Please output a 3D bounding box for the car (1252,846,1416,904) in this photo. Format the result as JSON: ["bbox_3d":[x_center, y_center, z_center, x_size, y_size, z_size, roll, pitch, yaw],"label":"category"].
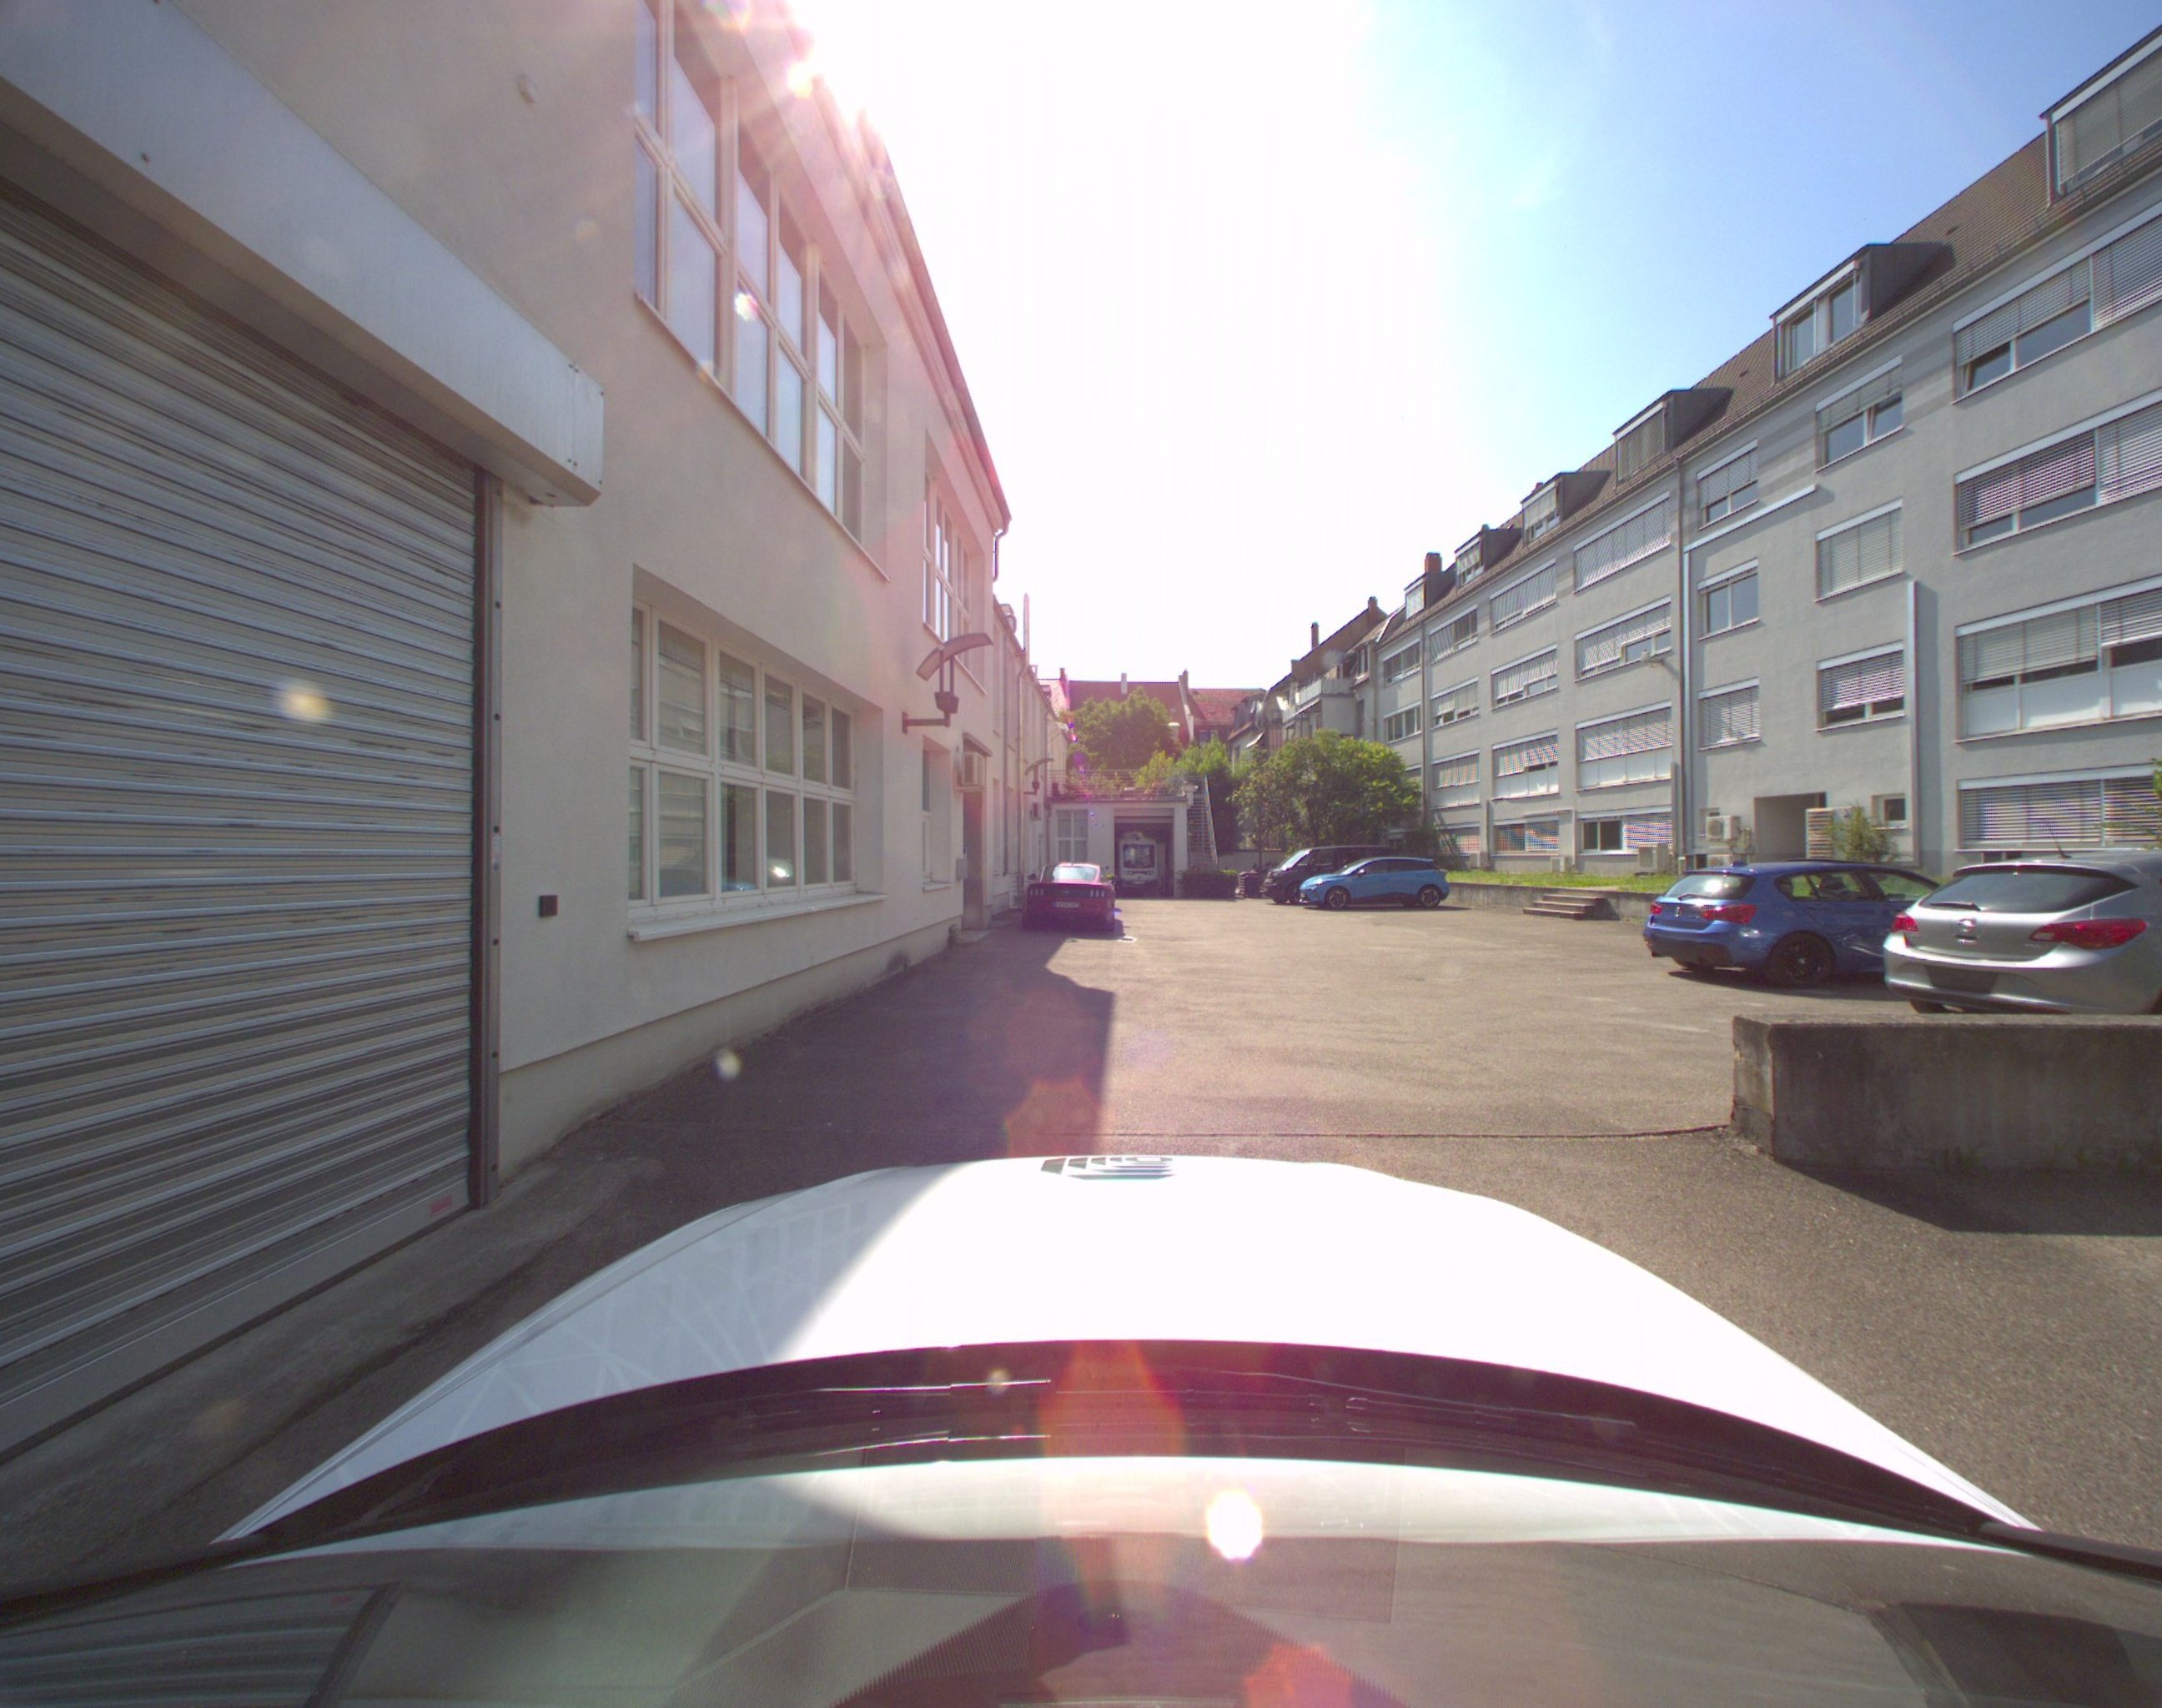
[{"bbox_3d":[8.547,0.658,27.710,4.951,1.767,2.090,-1,0,-10],"label":"car"}]

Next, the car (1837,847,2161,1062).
[{"bbox_3d":[8.797,0.659,6.425,3.974,1.427,1.811,-1,0,0],"label":"car"}]

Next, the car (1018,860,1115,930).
[{"bbox_3d":[-0.201,0.816,17.849,1.844,1.319,4.002,1,0,2],"label":"car"}]

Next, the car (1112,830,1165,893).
[{"bbox_3d":[2.647,0.370,37.583,2.165,2.607,6.740,-1,-1,4],"label":"car"}]

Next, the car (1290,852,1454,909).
[{"bbox_3d":[8.642,0.747,24.445,4.216,1.532,2.000,-1,0,-1],"label":"car"}]

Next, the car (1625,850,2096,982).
[{"bbox_3d":[9.121,0.695,9.812,3.971,1.394,1.690,-1,0,2],"label":"car"}]

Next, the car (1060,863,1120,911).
[{"bbox_3d":[0.342,0.948,24.803,1.607,1.295,3.762,-1,0,4],"label":"car"}]
